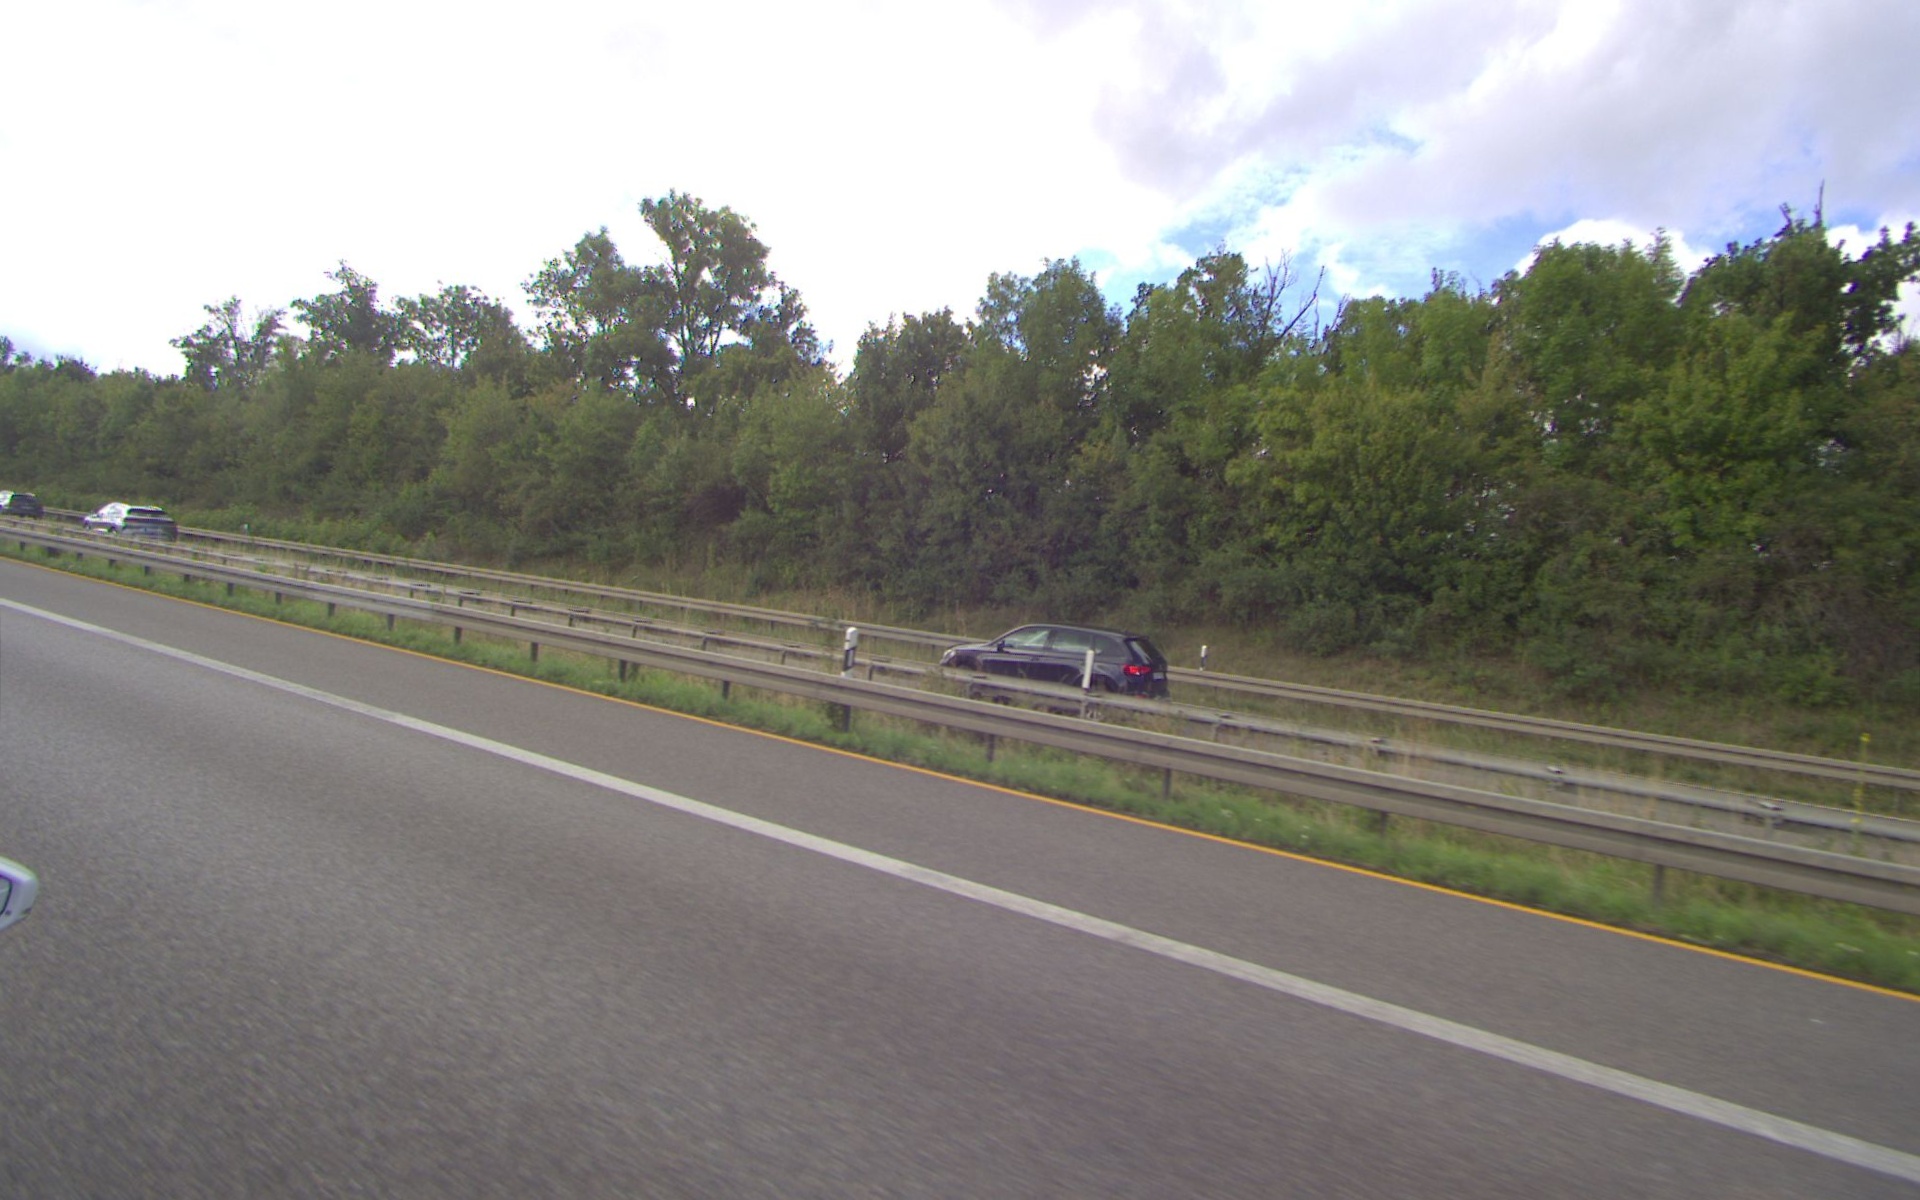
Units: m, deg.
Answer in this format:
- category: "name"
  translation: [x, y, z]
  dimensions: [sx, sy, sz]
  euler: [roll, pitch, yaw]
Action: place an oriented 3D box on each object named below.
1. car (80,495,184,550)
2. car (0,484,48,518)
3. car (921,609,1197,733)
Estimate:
- category: "car"
  translation: [-32.730, -3.071, 39.747]
  dimensions: [4.234, 1.671, 1.847]
  euler: [7, 2, 32]
- category: "car"
  translation: [-53.572, -5.659, 56.904]
  dimensions: [4.233, 1.566, 1.730]
  euler: [7, 2, 30]
- category: "car"
  translation: [1.709, 1.180, 17.954]
  dimensions: [4.450, 1.504, 1.844]
  euler: [7, 2, 32]
